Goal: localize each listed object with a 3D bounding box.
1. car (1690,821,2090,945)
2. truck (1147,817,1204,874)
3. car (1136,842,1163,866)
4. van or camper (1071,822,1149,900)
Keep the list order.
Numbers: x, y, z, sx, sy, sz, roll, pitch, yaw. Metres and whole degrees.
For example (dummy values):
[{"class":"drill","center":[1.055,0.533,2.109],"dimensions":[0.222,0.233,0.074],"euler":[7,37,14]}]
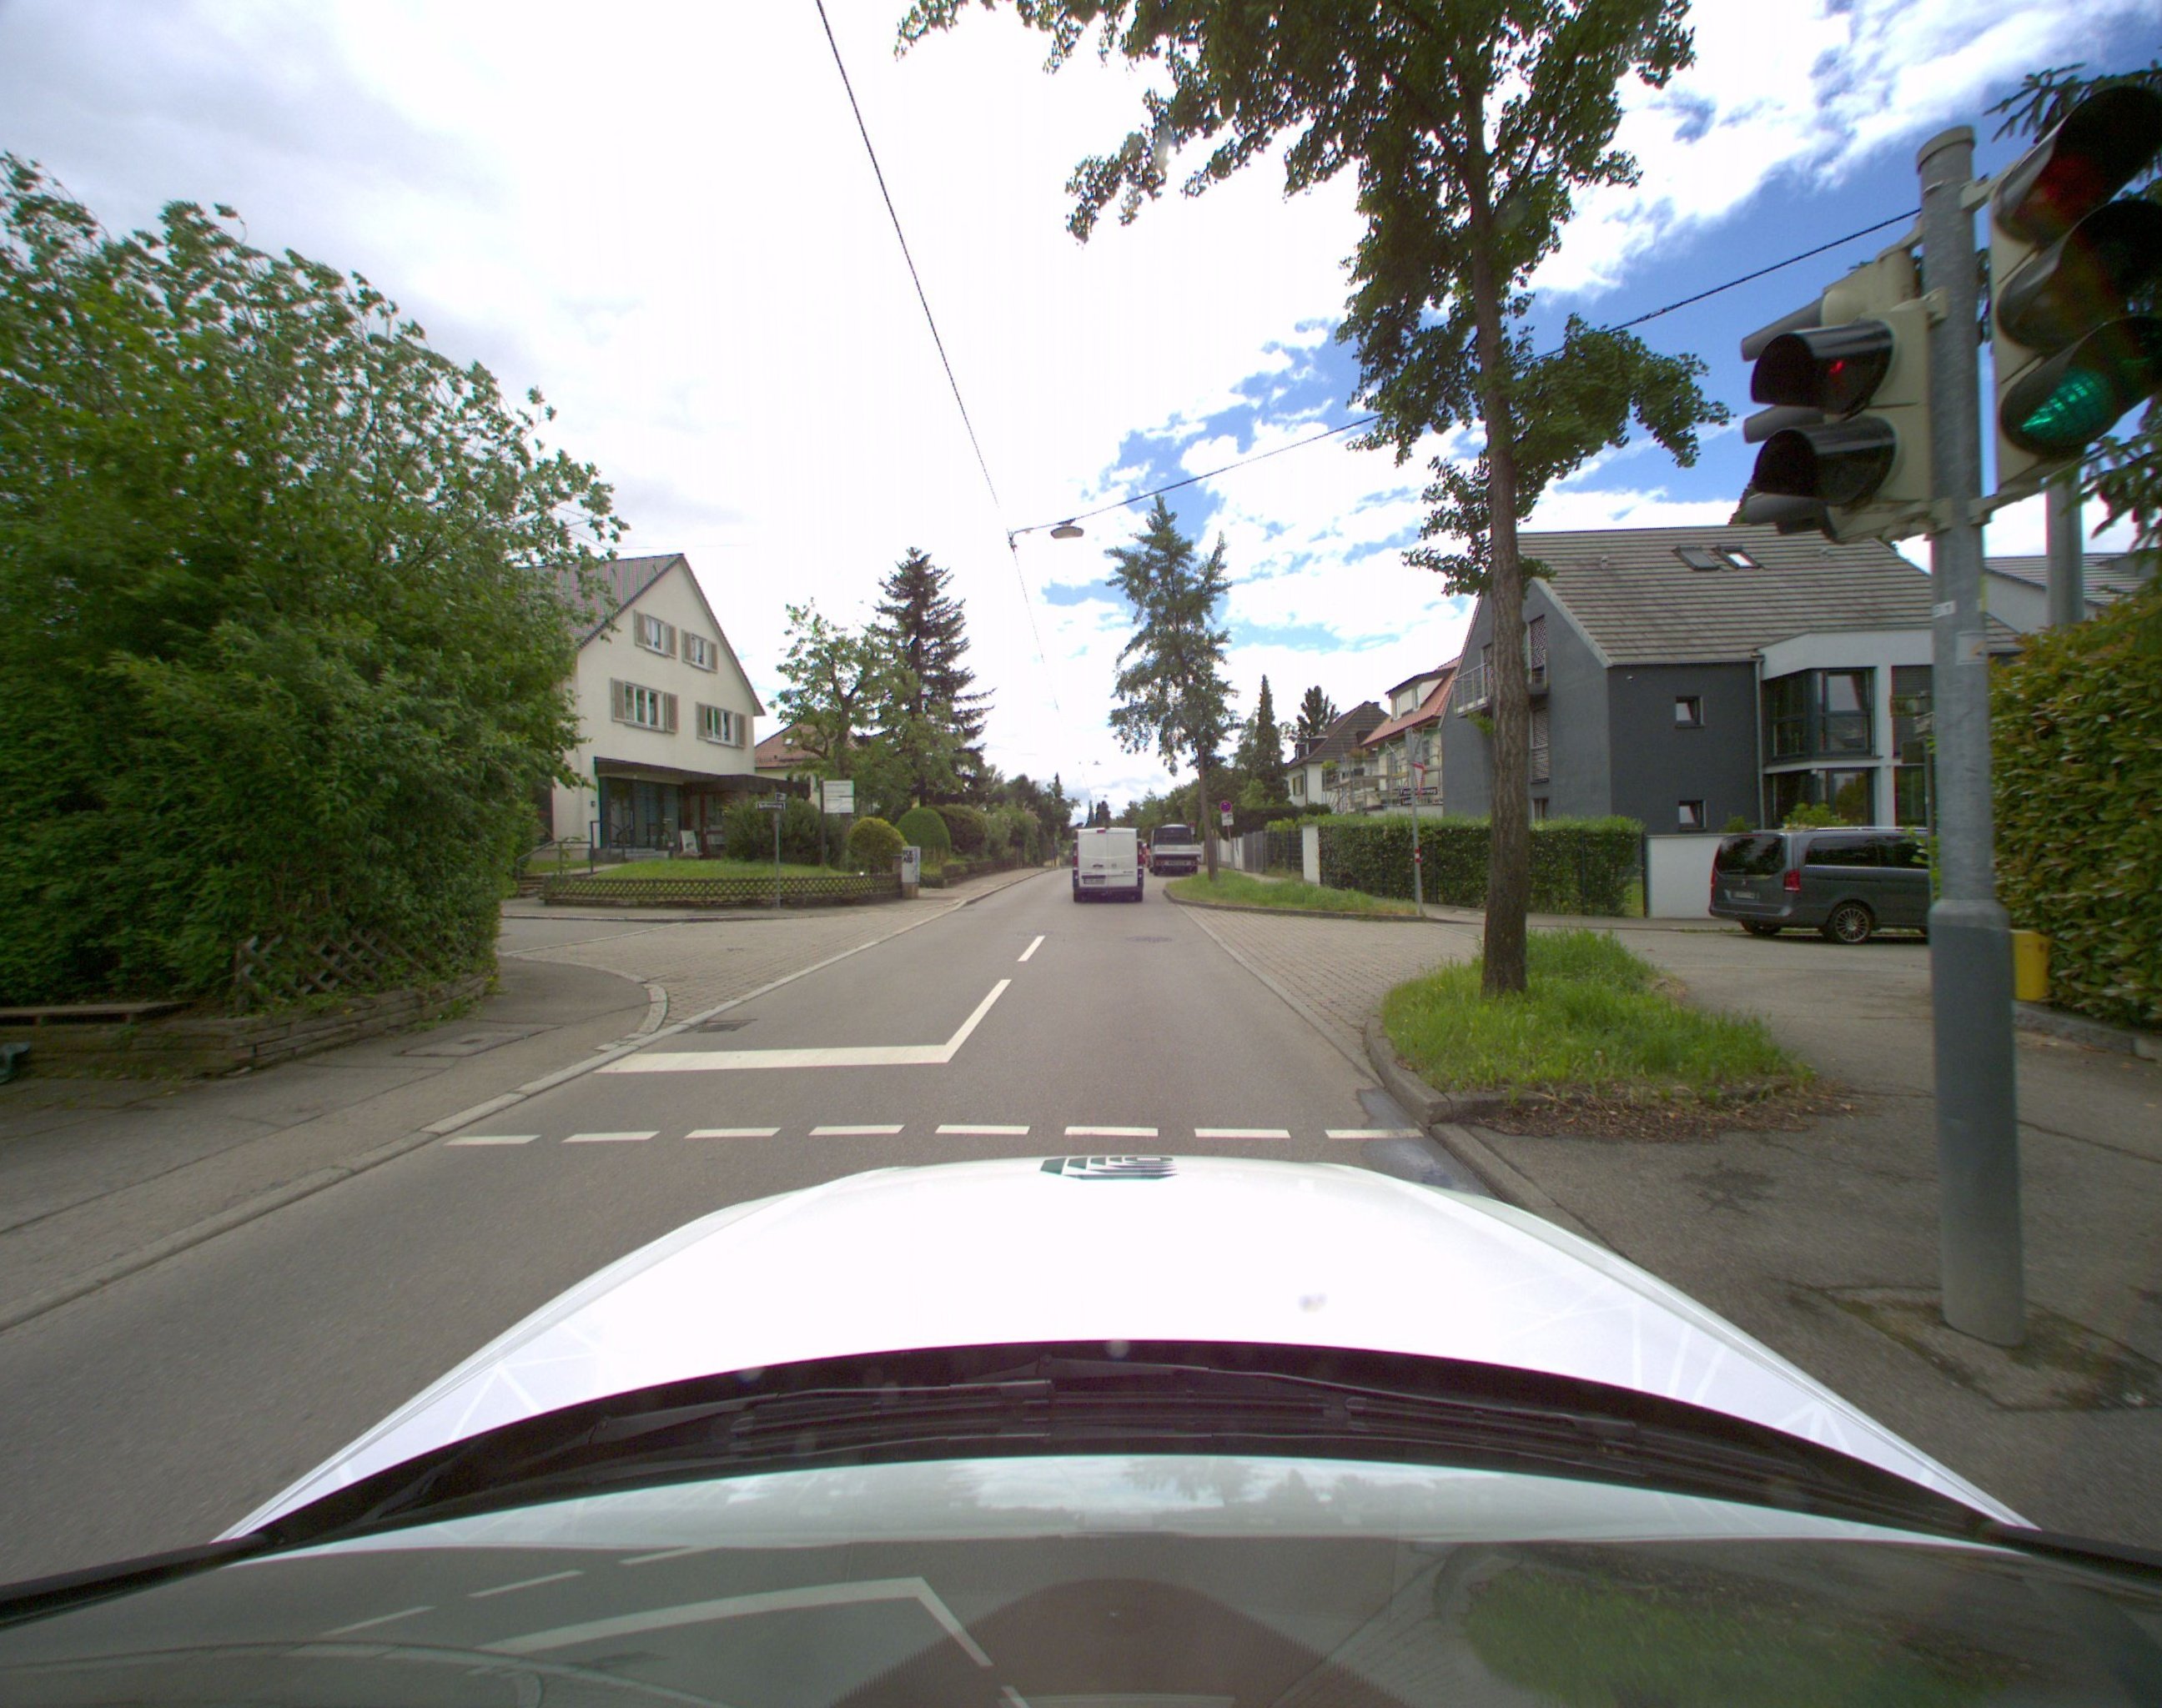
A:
[{"class":"car","center":[13.716,0.445,14.087],"dimensions":[4.741,1.966,2.160],"euler":[0,1,1]},{"class":"truck","center":[4.463,-0.401,39.680],"dimensions":[2.179,2.471,7.434],"euler":[0,0,2]},{"class":"car","center":[5.048,-0.001,60.281],"dimensions":[1.738,1.675,4.186],"euler":[-2,0,1]},{"class":"van or camper","center":[0.795,0.197,22.928],"dimensions":[1.932,1.954,4.766],"euler":[-1,-1,1]}]
